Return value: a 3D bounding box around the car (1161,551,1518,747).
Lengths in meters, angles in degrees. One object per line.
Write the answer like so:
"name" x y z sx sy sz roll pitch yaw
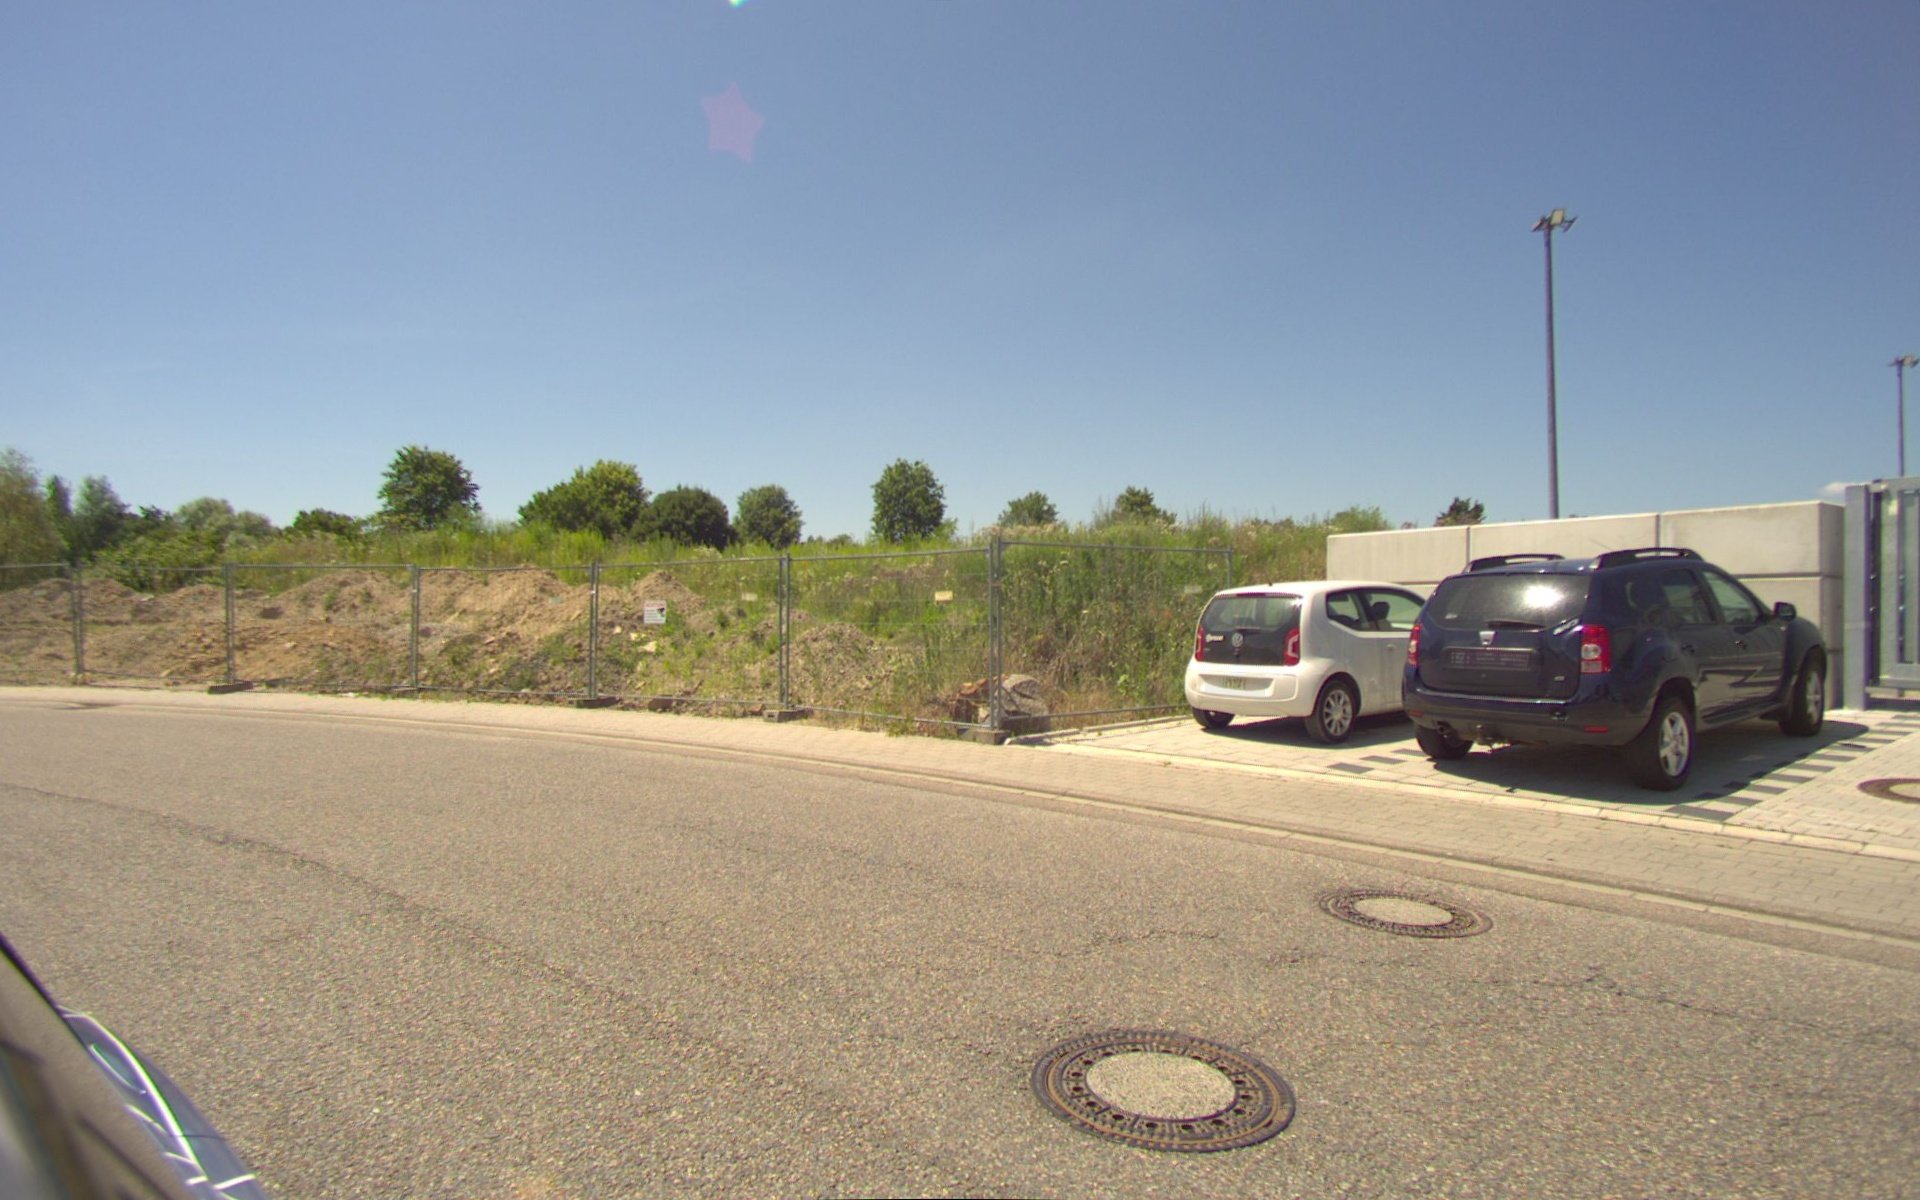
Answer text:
"car" 3.918 0.378 10.350 3.317 1.472 1.786 -6 4 -34

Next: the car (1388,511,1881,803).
"car" 5.564 0.261 8.209 4.107 1.671 1.787 -6 3 -32
